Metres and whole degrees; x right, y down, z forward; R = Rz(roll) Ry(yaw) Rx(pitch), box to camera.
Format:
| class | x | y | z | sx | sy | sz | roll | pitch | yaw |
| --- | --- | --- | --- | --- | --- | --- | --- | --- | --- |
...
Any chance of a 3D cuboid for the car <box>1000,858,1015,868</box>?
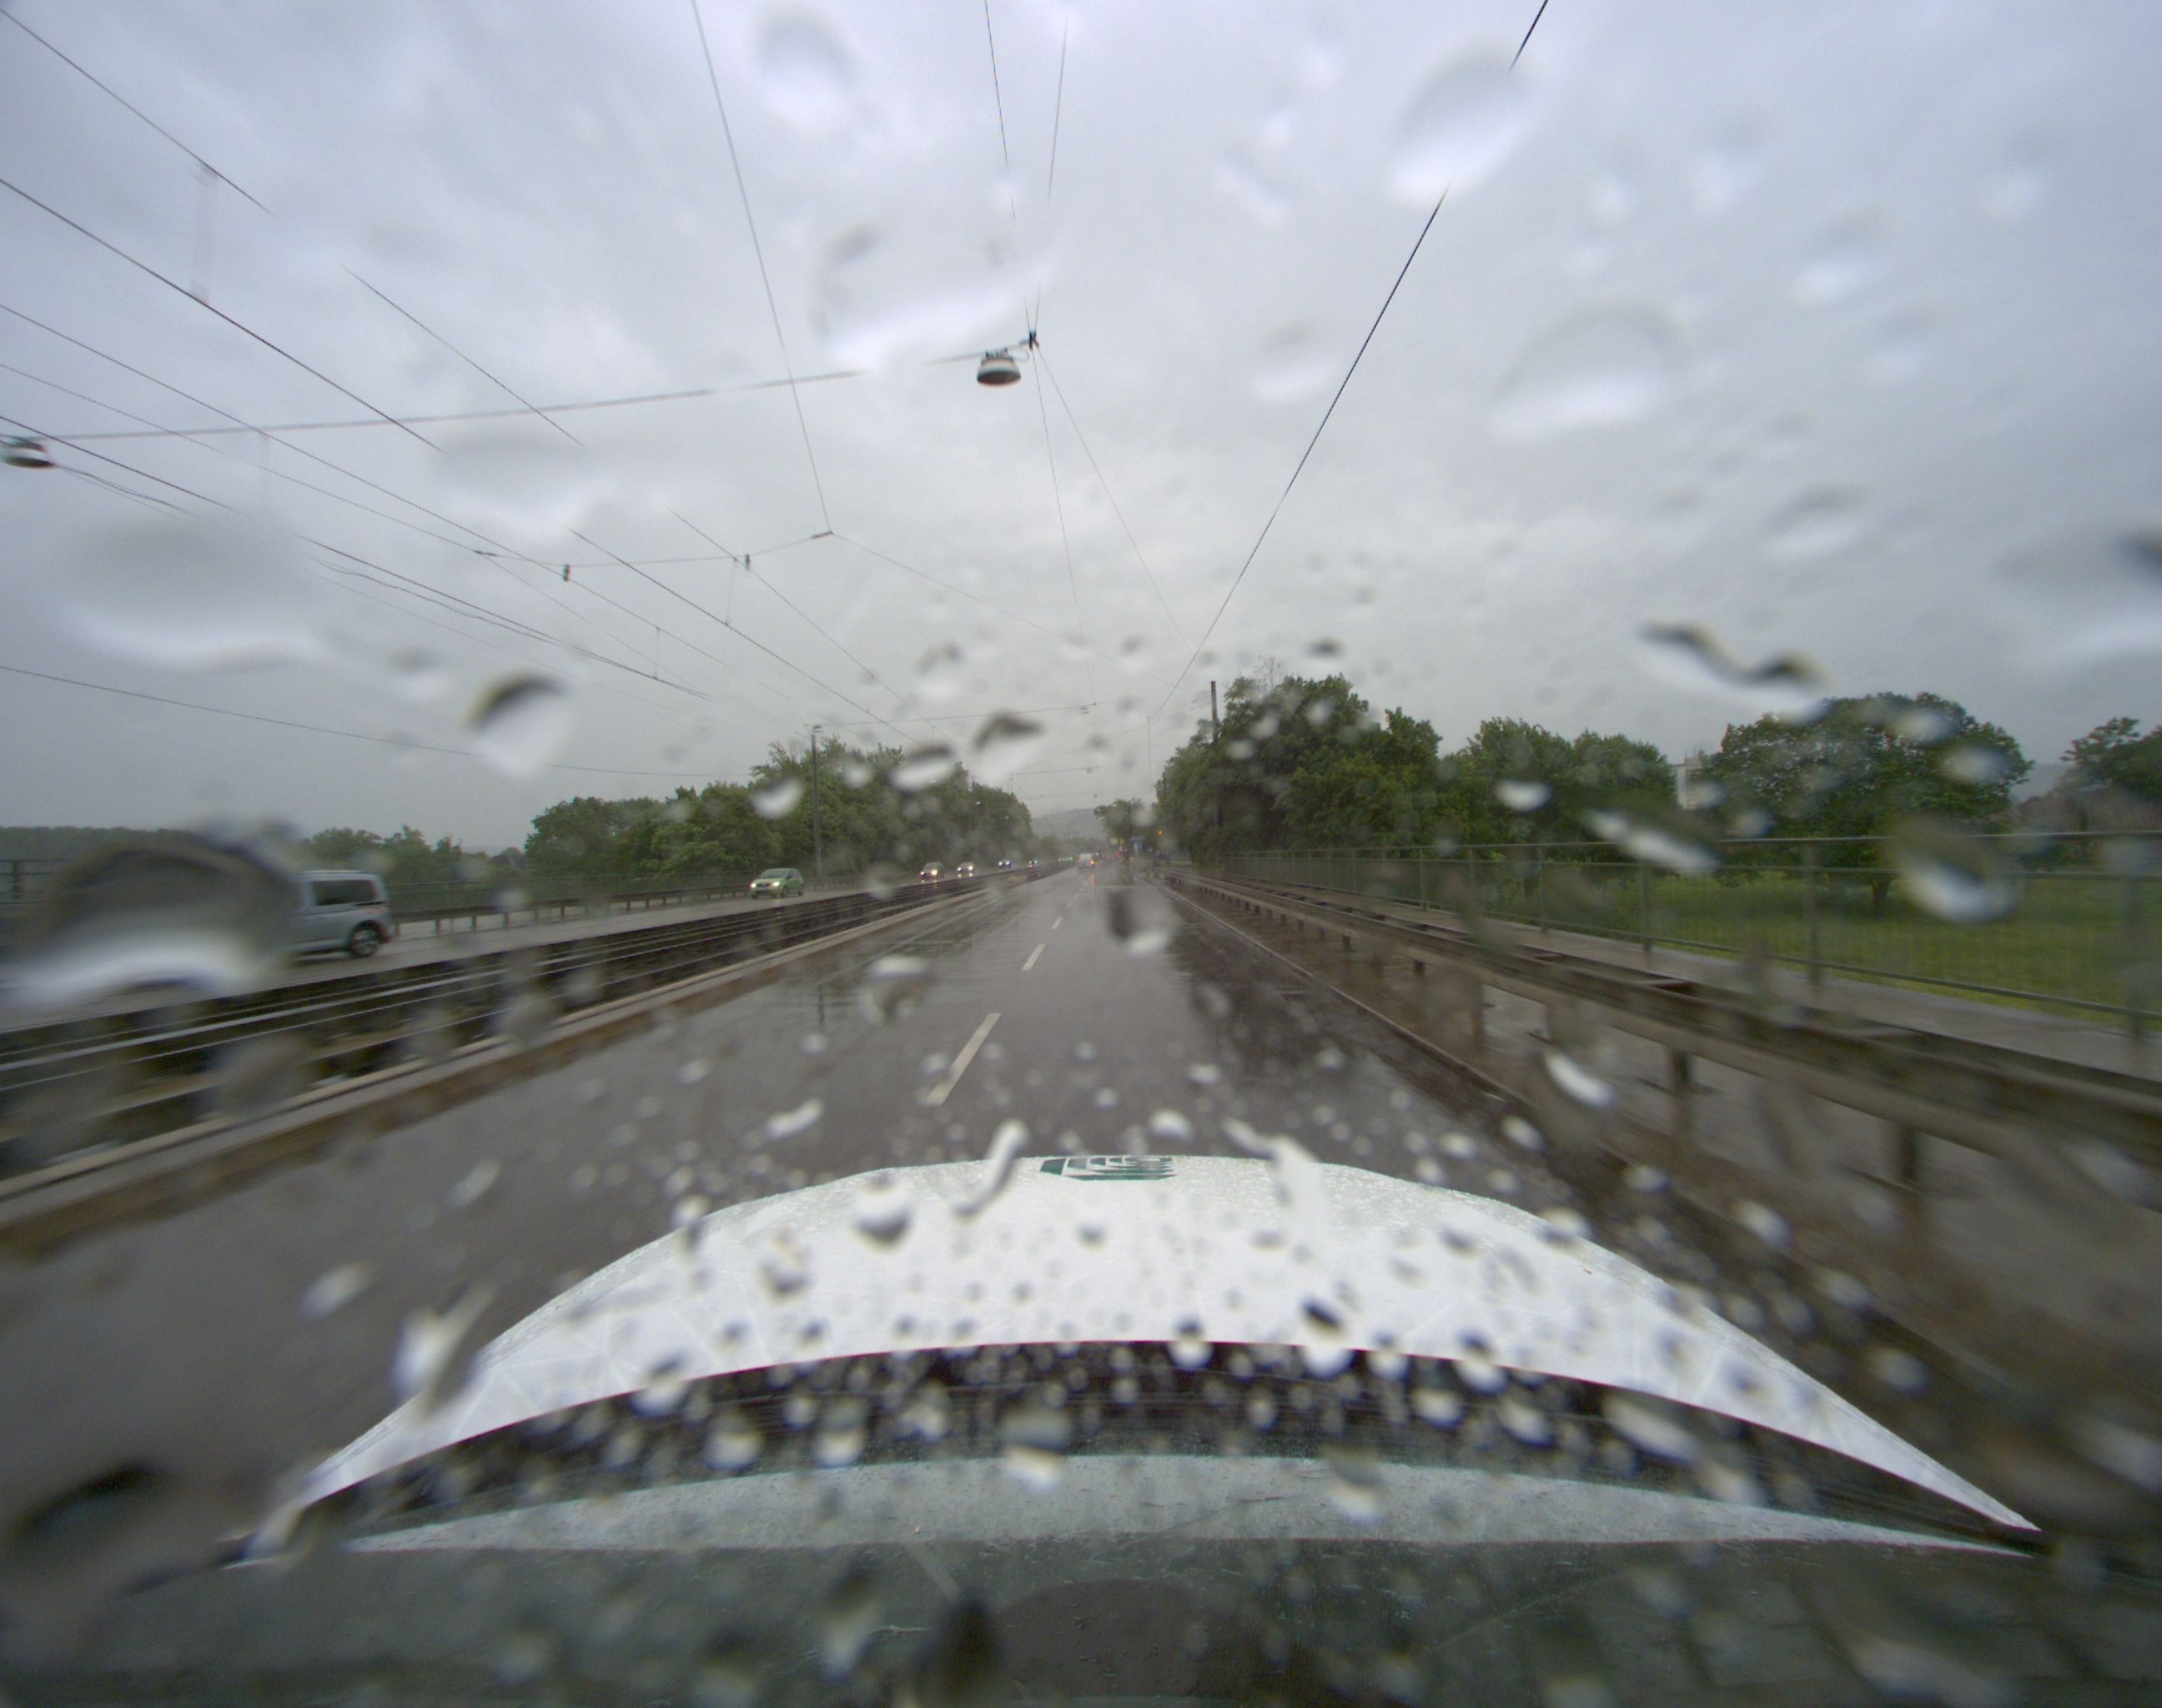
| class | x | y | z | sx | sy | sz | roll | pitch | yaw |
| --- | --- | --- | --- | --- | --- | --- | --- | --- | --- |
| car | -12.663 | 1.519 | 139.715 | 1.987 | 1.672 | 4.873 | -2 | 0 | 1 |

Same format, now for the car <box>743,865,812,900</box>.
| class | x | y | z | sx | sy | sz | roll | pitch | yaw |
| --- | --- | --- | --- | --- | --- | --- | --- | --- | --- |
| car | -15.204 | 1.391 | 40.996 | 1.839 | 1.594 | 4.002 | -1 | -1 | 2 |

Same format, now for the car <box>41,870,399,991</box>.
| class | x | y | z | sx | sy | sz | roll | pitch | yaw |
| --- | --- | --- | --- | --- | --- | --- | --- | --- | --- |
| car | -15.561 | 1.254 | 15.177 | 1.841 | 1.831 | 4.396 | 1 | 0 | 2 |

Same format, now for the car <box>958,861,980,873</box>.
| class | x | y | z | sx | sy | sz | roll | pitch | yaw |
| --- | --- | --- | --- | --- | --- | --- | --- | --- | --- |
| car | -14.035 | 1.623 | 102.204 | 1.987 | 1.388 | 4.854 | -2 | 0 | 1 |

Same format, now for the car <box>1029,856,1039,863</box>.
| class | x | y | z | sx | sy | sz | roll | pitch | yaw |
| --- | --- | --- | --- | --- | --- | --- | --- | --- | --- |
| car | -11.680 | 1.325 | 201.339 | 1.986 | 1.783 | 4.001 | 3 | 0 | 1 |

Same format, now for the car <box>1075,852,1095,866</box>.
| class | x | y | z | sx | sy | sz | roll | pitch | yaw |
| --- | --- | --- | --- | --- | --- | --- | --- | --- | --- |
| car | 0.495 | 0.598 | 90.579 | 2.069 | 1.420 | 4.002 | -3 | -1 | 2 |

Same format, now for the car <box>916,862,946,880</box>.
| class | x | y | z | sx | sy | sz | roll | pitch | yaw |
| --- | --- | --- | --- | --- | --- | --- | --- | --- | --- |
| car | -14.199 | 1.577 | 77.193 | 1.834 | 1.574 | 4.387 | -1 | -1 | 2 |
